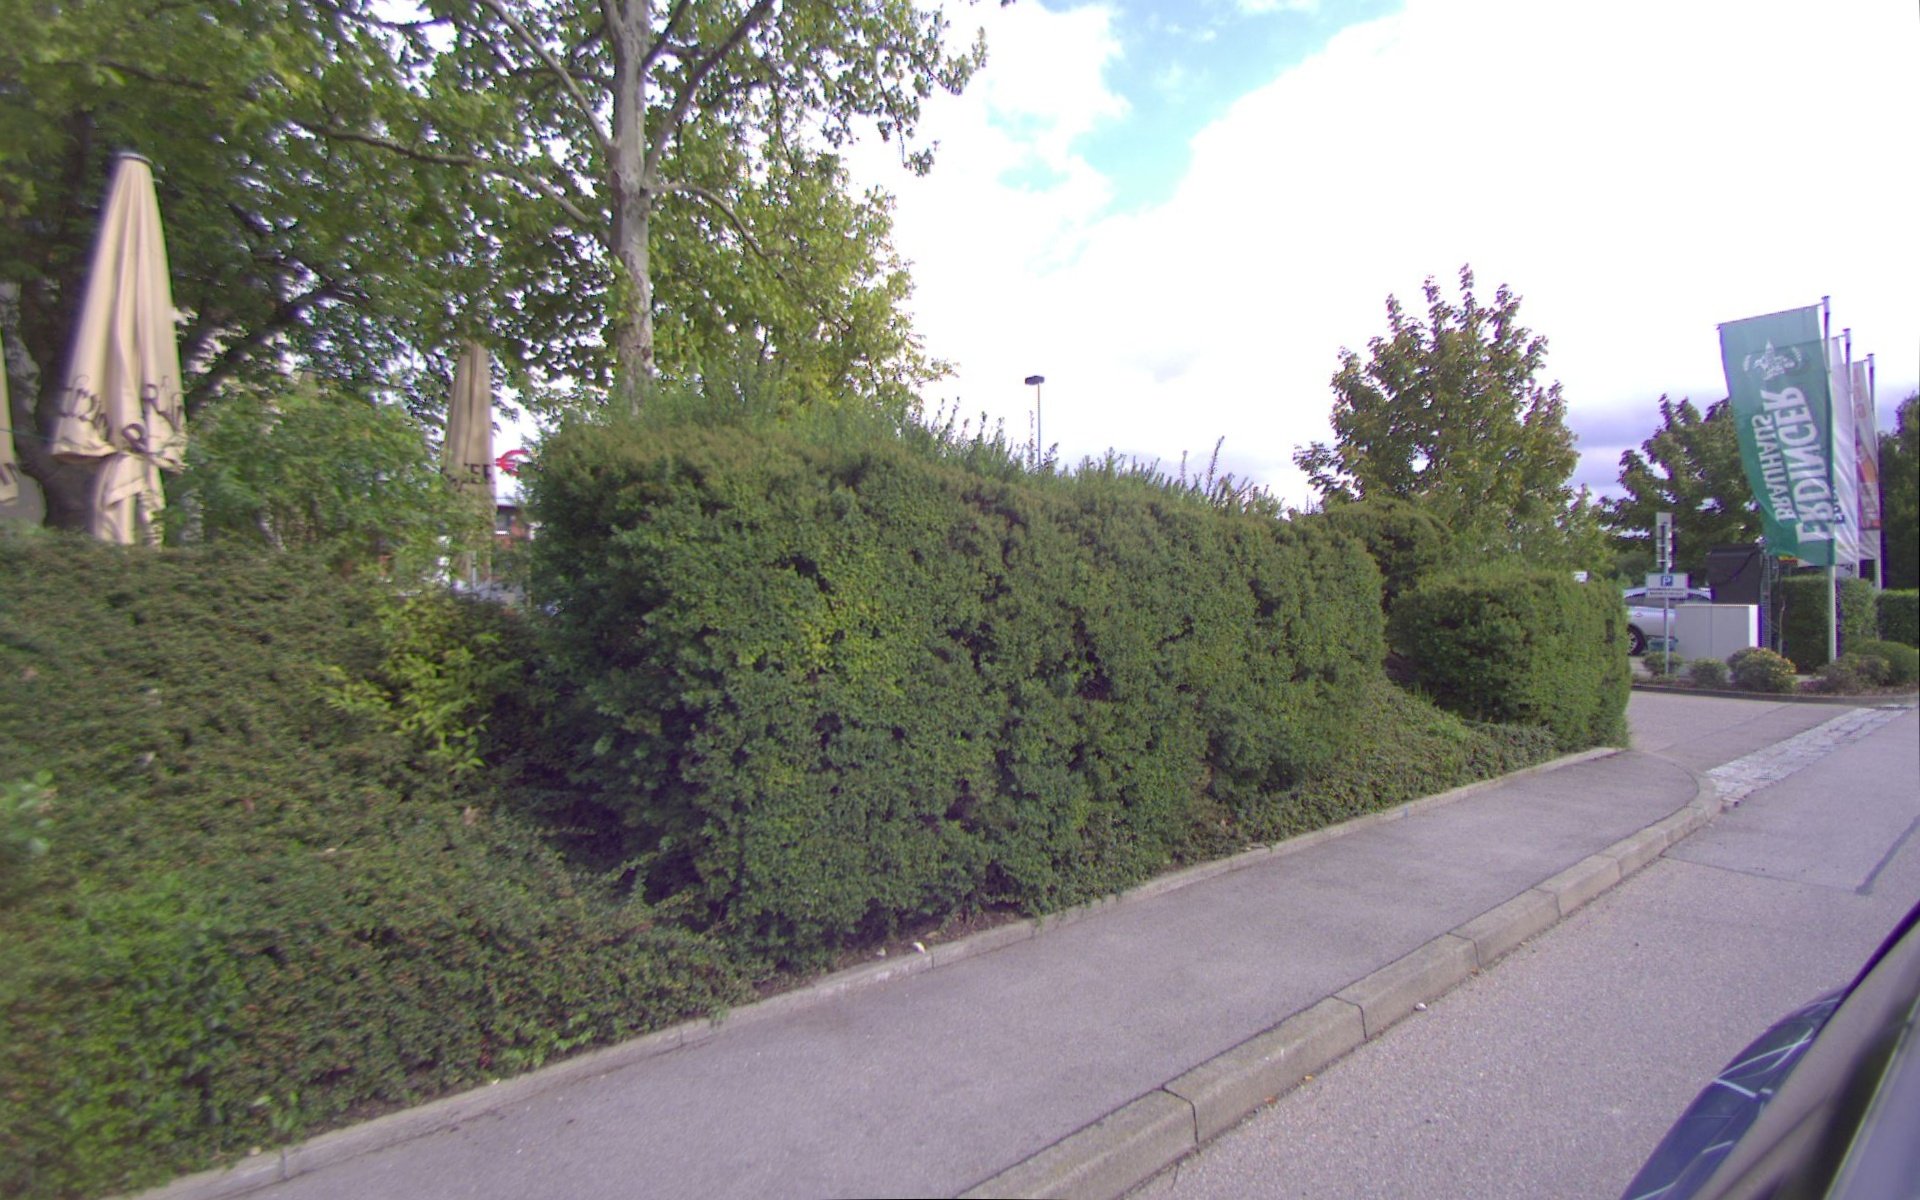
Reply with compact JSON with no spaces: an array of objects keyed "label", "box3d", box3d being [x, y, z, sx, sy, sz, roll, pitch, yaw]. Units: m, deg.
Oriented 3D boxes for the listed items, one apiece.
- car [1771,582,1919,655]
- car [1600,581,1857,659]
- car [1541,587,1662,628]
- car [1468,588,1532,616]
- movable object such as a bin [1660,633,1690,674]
[{"label":"car","box3d":[23.211,0.447,25.231,1.625,1.738,4.365,0,-1,-33]},{"label":"car","box3d":[18.706,0.410,24.901,1.880,1.717,4.685,-1,1,-29]},{"label":"car","box3d":[29.002,0.343,45.906,1.625,1.738,4.365,0,-1,-33]},{"label":"car","box3d":[32.808,0.128,61.475,3.922,1.635,1.723,0,-1,-32]},{"label":"movable object such as a bin","box3d":[12.512,0.926,17.703,0.360,0.693,0.289,0,-1,-29]}]
